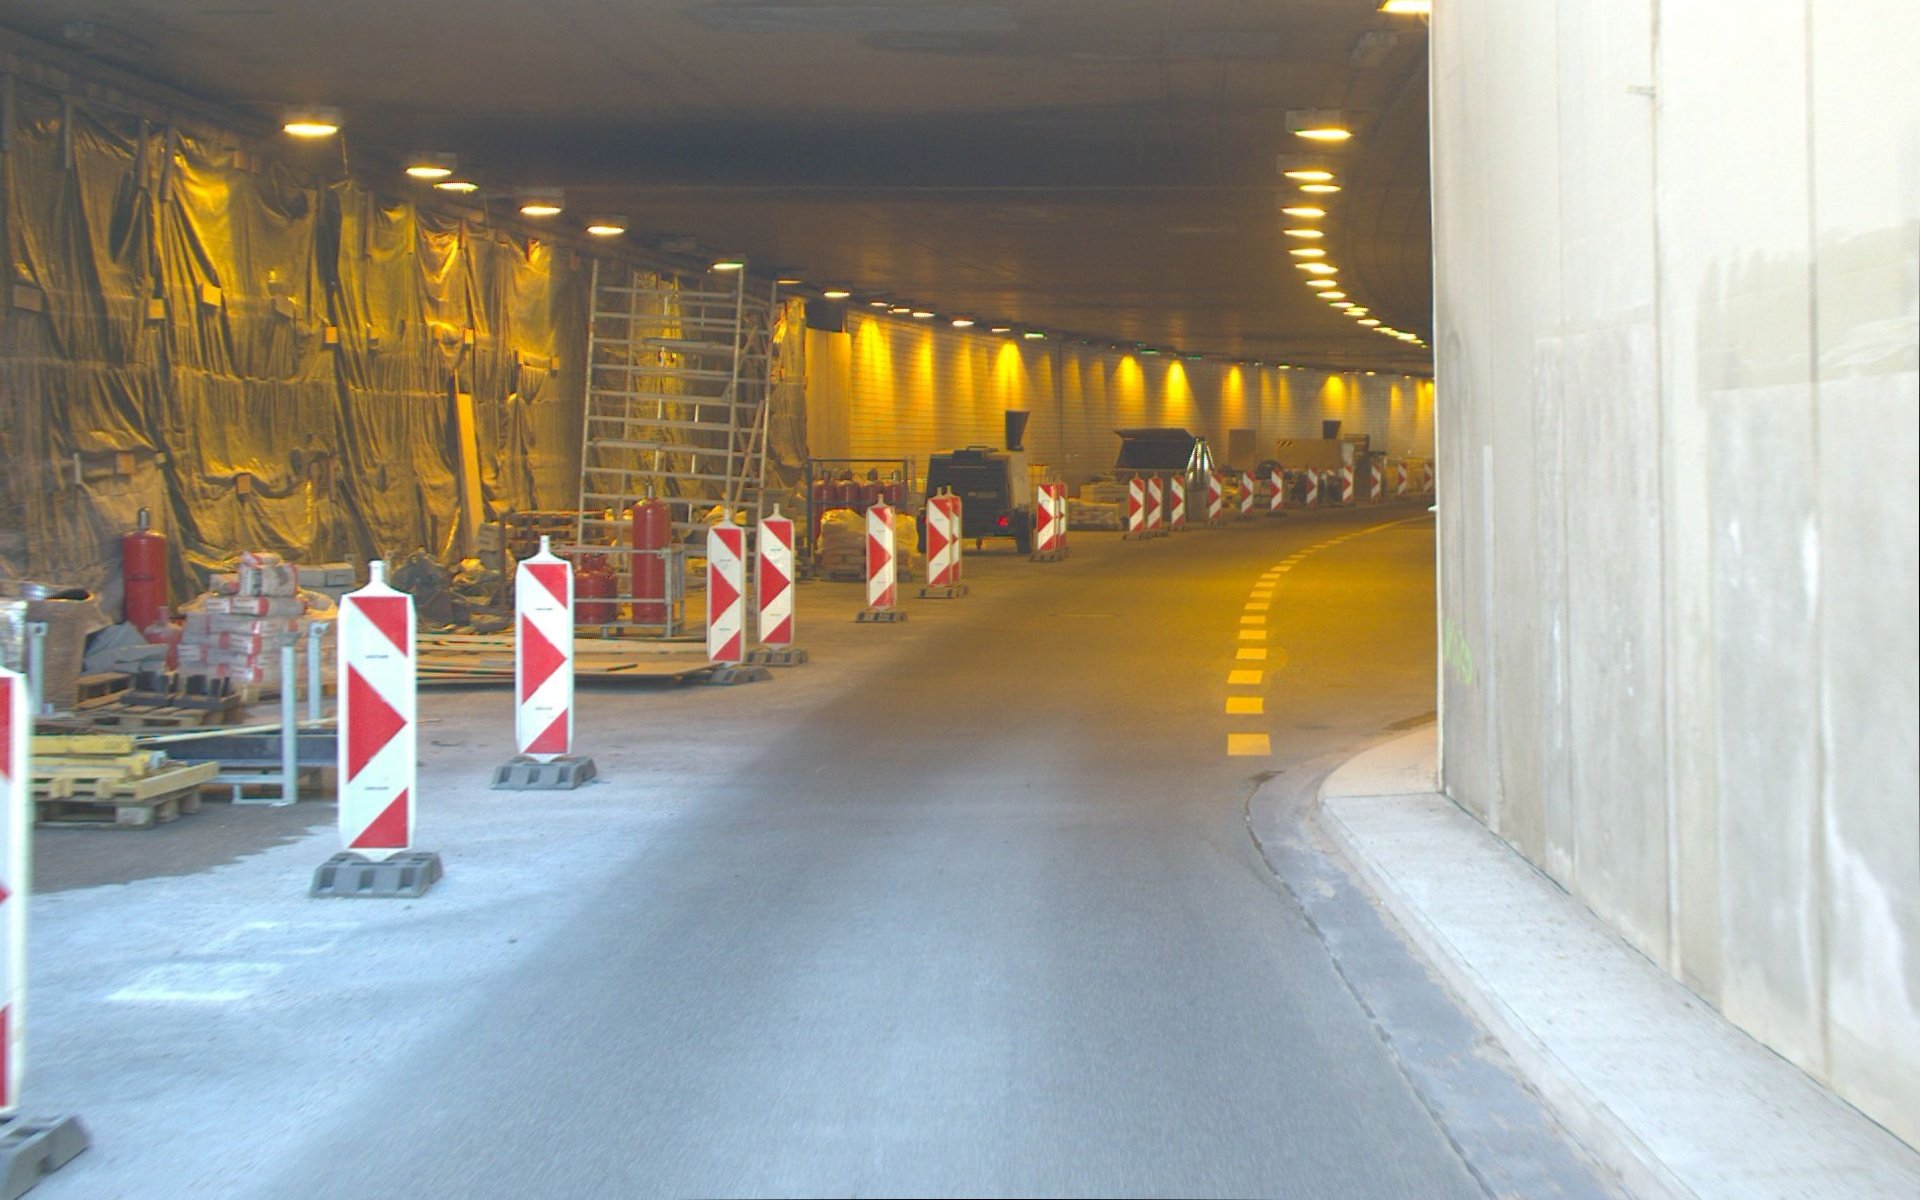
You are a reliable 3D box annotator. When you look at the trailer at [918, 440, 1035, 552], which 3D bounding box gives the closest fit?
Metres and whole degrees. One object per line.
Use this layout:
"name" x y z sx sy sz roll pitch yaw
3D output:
"trailer" 0.290 -1.747 57.360 1.581 1.792 2.939 1 2 7
